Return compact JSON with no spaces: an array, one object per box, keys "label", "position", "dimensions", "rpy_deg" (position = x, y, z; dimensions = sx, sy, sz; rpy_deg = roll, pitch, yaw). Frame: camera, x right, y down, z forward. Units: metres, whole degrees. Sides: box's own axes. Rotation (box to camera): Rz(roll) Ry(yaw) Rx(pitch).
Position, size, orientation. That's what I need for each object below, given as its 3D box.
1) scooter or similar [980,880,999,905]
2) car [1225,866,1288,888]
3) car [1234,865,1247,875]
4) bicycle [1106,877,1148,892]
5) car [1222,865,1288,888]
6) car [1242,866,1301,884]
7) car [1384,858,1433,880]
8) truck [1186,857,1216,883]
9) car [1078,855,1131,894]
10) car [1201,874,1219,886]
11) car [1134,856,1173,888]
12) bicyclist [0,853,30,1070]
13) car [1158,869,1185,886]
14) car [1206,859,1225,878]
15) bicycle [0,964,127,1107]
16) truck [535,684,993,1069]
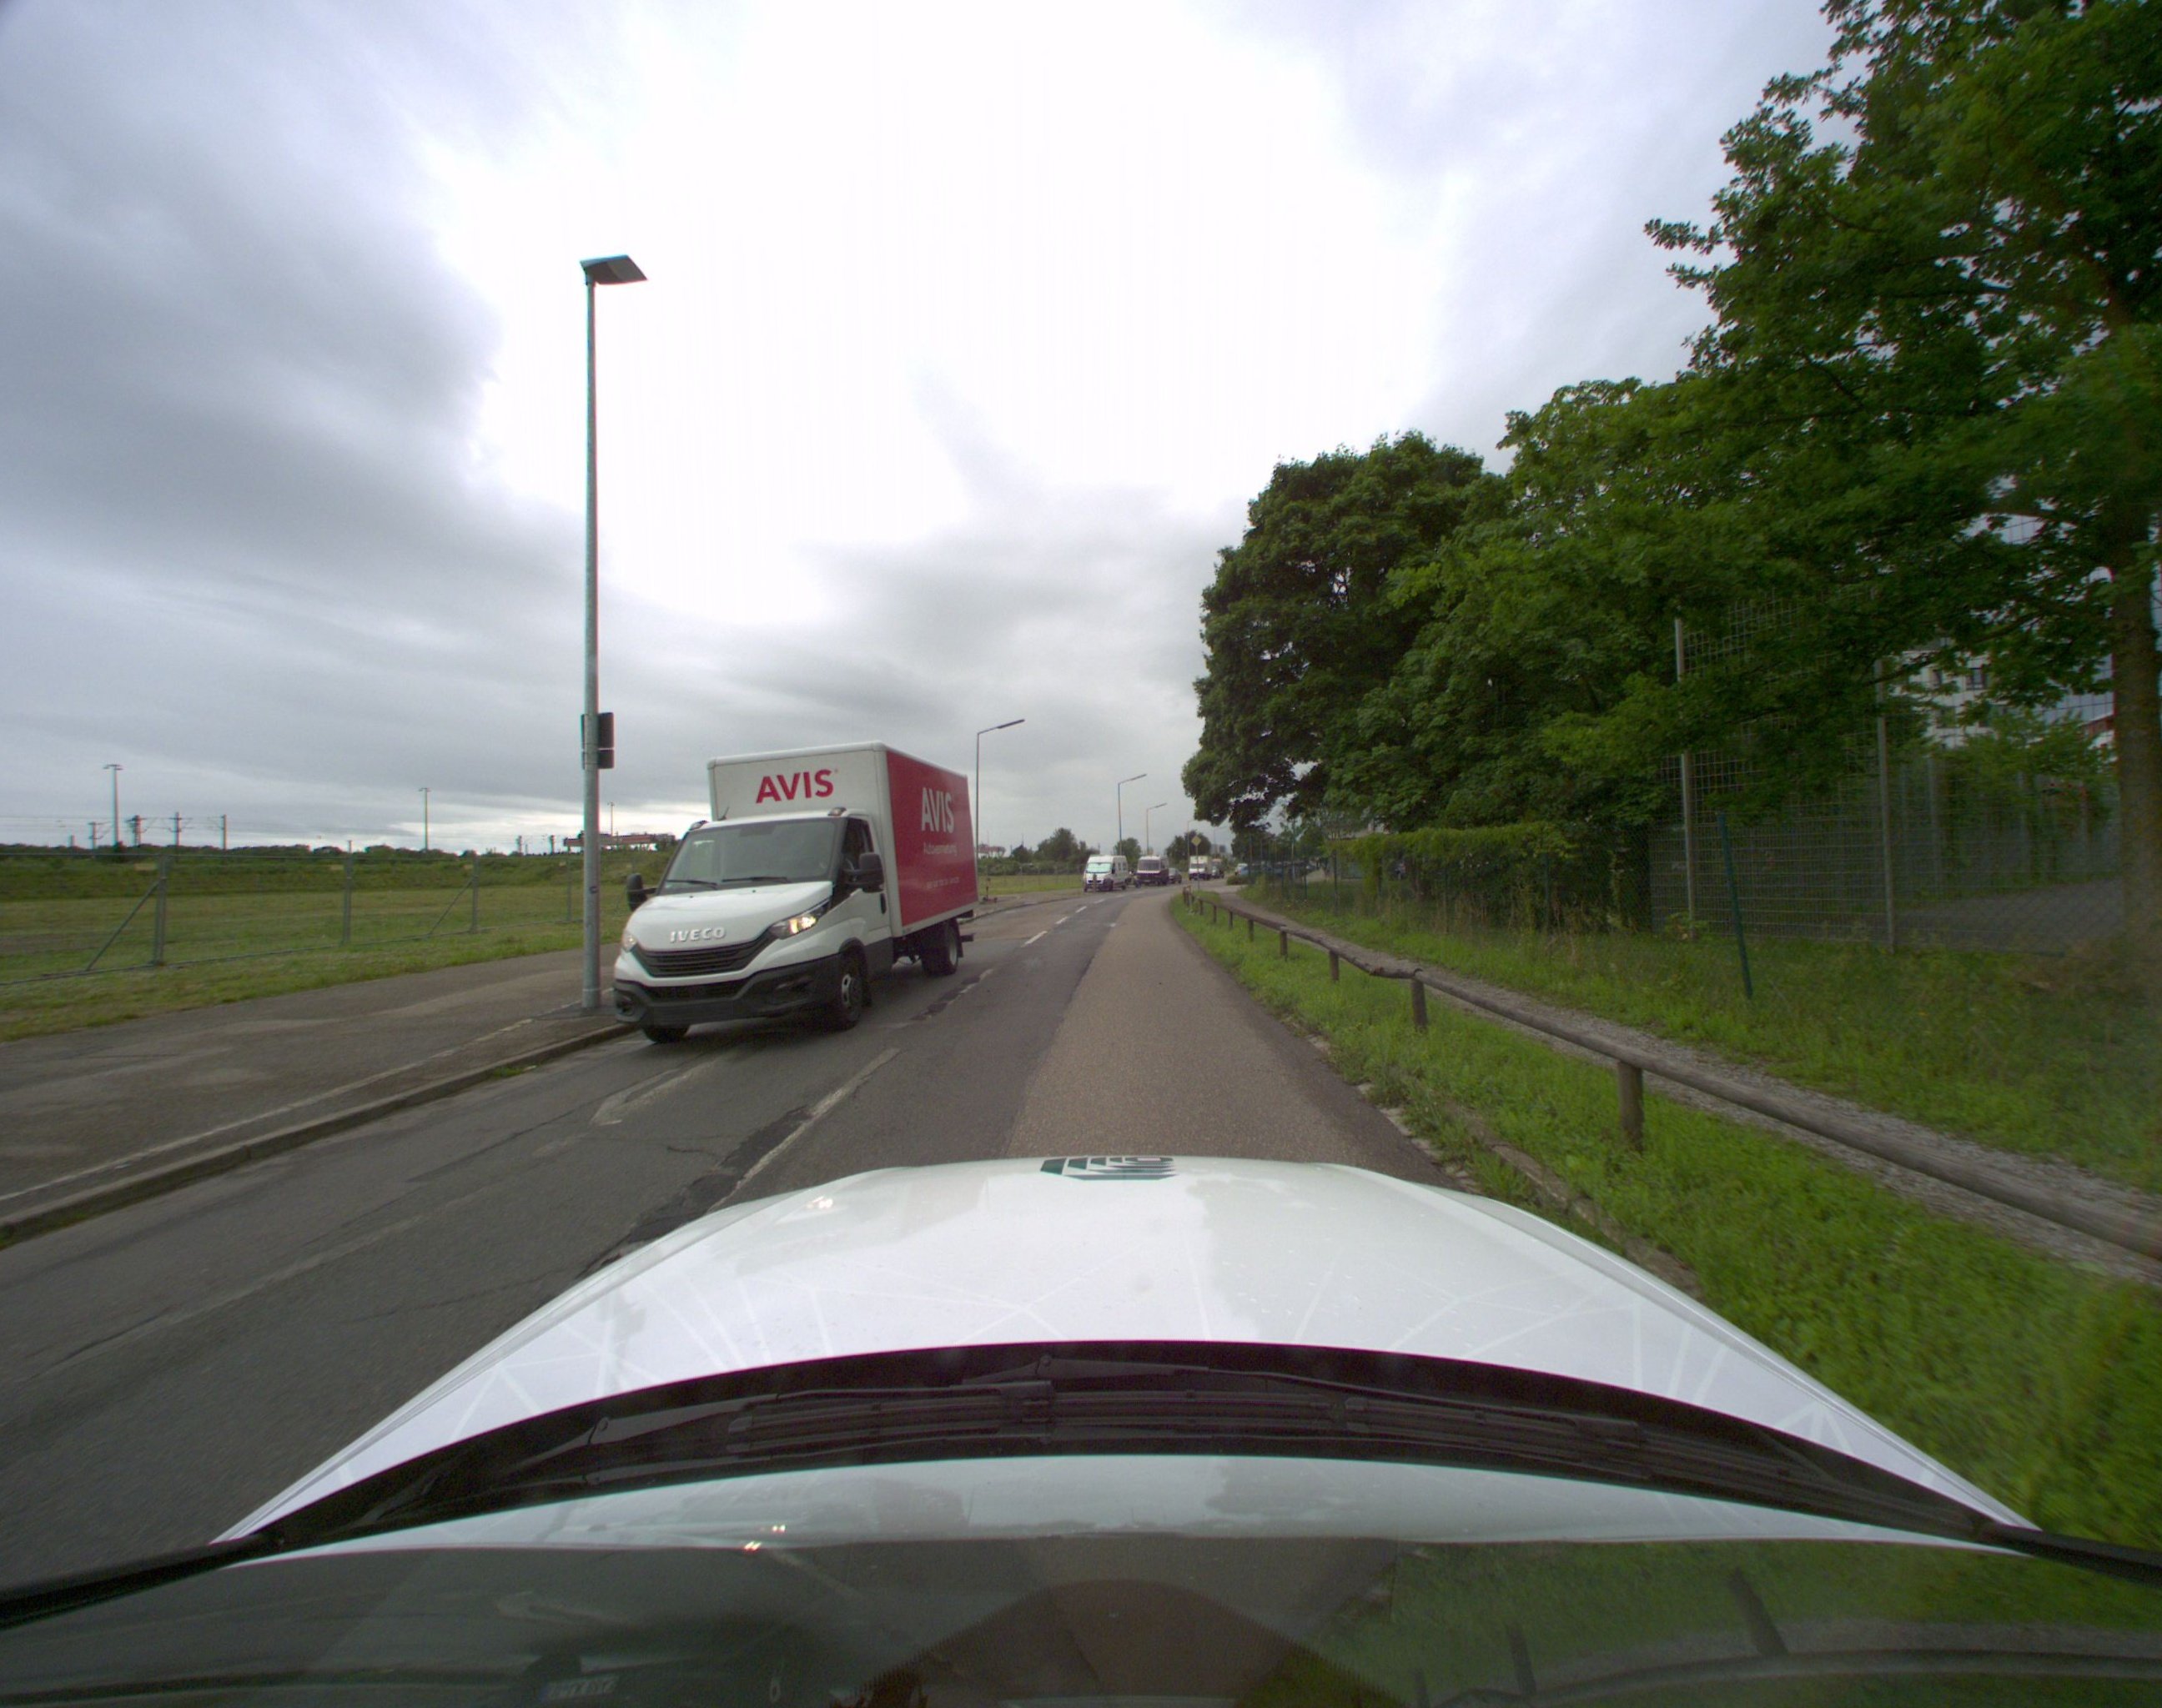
[{"label":"scooter or similar","position":[-4.520,1.882,40.313],"dimensions":[0.606,1.183,1.703],"rpy_deg":[1,-1,3]},{"label":"car","position":[14.238,1.830,66.085],"dimensions":[4.824,1.663,1.850],"rpy_deg":[-1,-1,16]},{"label":"car","position":[28.060,2.860,143.015],"dimensions":[1.635,1.663,3.593],"rpy_deg":[-1,-1,19]},{"label":"bicycle","position":[3.718,2.445,65.354],"dimensions":[3.096,1.199,1.370],"rpy_deg":[-1,-1,16]},{"label":"car","position":[13.537,1.757,63.402],"dimensions":[4.824,1.616,1.850],"rpy_deg":[-1,-1,16]},{"label":"car","position":[16.544,1.815,70.559],"dimensions":[4.824,1.500,1.850],"rpy_deg":[-1,-1,16]},{"label":"car","position":[22.219,1.034,55.392],"dimensions":[1.816,1.431,3.773],"rpy_deg":[-1,-1,1]},{"label":"truck","position":[14.763,1.899,99.948],"dimensions":[2.443,3.060,8.196],"rpy_deg":[-2,-1,16]},{"label":"car","position":[1.730,1.385,57.506],"dimensions":[2.272,2.556,6.435],"rpy_deg":[-2,-1,15]},{"label":"car","position":[17.291,3.452,109.163],"dimensions":[1.741,1.525,4.017],"rpy_deg":[-2,-1,16]},{"label":"car","position":[6.594,1.596,73.554],"dimensions":[2.283,2.734,6.118],"rpy_deg":[-1,-1,17]},{"label":"bicyclist","position":[-8.010,0.760,5.349],"dimensions":[0.779,1.526,1.094],"rpy_deg":[-1,-1,2]},{"label":"car","position":[8.897,2.279,80.011],"dimensions":[1.765,1.505,4.018],"rpy_deg":[-2,-1,18]},{"label":"car","position":[19.293,2.070,116.654],"dimensions":[1.989,2.574,4.806],"rpy_deg":[-2,-1,16]},{"label":"bicycle","position":[-8.002,1.329,5.344],"dimensions":[0.800,0.907,2.233],"rpy_deg":[-1,-1,2]},{"label":"truck","position":[-3.080,0.257,10.530],"dimensions":[2.330,3.062,7.504],"rpy_deg":[-4,-1,4]}]
